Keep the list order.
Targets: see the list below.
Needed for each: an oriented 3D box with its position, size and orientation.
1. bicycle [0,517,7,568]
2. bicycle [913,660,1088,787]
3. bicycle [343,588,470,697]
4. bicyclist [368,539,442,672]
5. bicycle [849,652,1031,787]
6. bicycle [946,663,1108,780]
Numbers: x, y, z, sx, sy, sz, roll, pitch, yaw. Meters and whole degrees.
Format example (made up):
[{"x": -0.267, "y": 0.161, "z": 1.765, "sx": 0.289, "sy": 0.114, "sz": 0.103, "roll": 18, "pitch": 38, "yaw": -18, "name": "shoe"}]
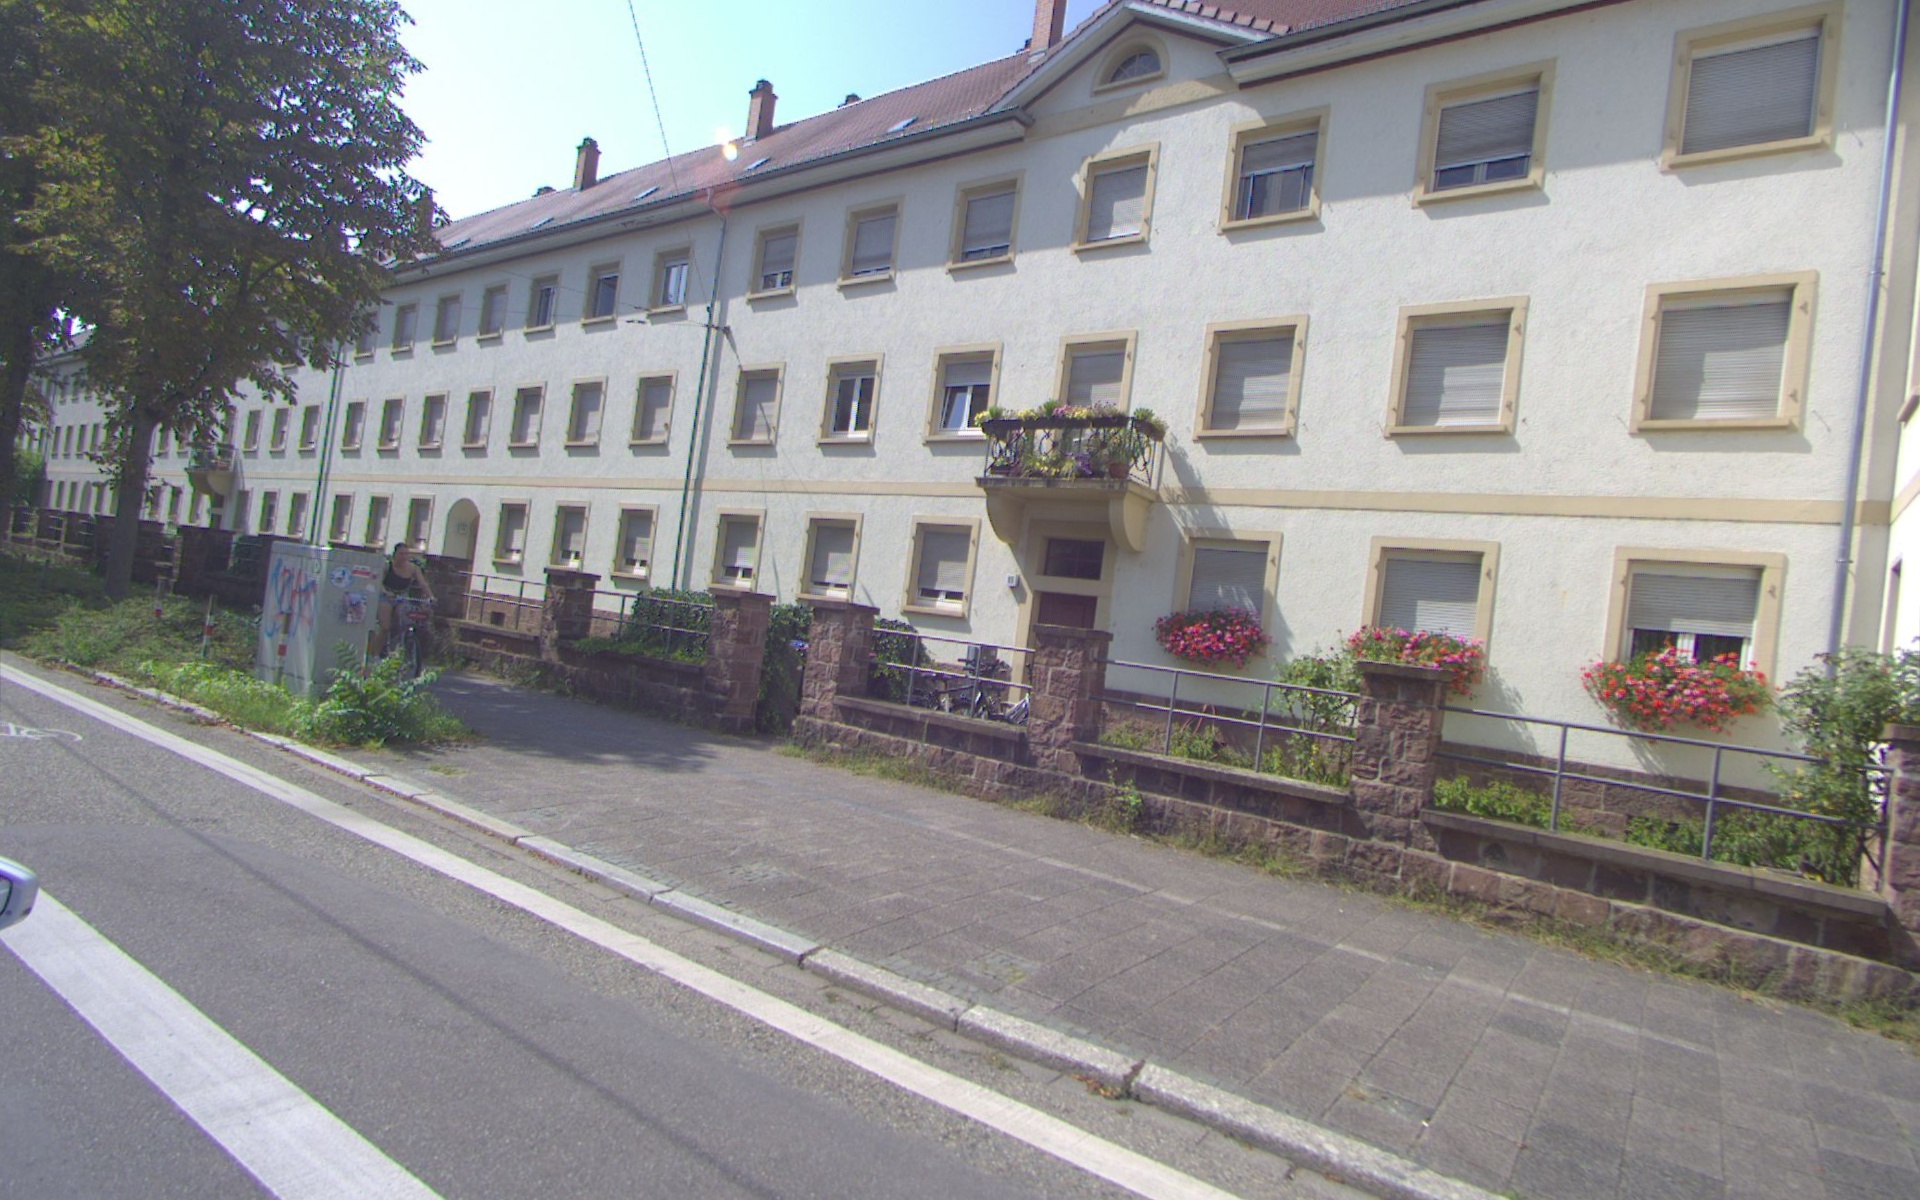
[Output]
[{"x": -19.977, "y": -1.192, "z": 20.098, "sx": 0.382, "sy": 1.121, "sz": 1.394, "roll": 8, "pitch": -2, "yaw": 2, "name": "bicycle"}, {"x": 0.405, "y": 1.295, "z": 10.825, "sx": 1.800, "sy": 1.059, "sz": 0.441, "roll": 7, "pitch": -2, "yaw": 34, "name": "bicycle"}, {"x": -6.628, "y": 0.487, "z": 12.015, "sx": 1.800, "sy": 1.059, "sz": 0.441, "roll": 7, "pitch": -2, "yaw": 34, "name": "bicycle"}, {"x": -6.660, "y": 0.069, "z": 12.081, "sx": 0.464, "sy": 1.529, "sz": 0.438, "roll": 7, "pitch": -1, "yaw": 34, "name": "bicyclist"}, {"x": -0.230, "y": 1.181, "z": 10.221, "sx": 1.800, "sy": 1.059, "sz": 0.441, "roll": 7, "pitch": -2, "yaw": 34, "name": "bicycle"}, {"x": 0.761, "y": 1.393, "z": 11.775, "sx": 1.800, "sy": 1.059, "sz": 0.441, "roll": 7, "pitch": -2, "yaw": 34, "name": "bicycle"}]
